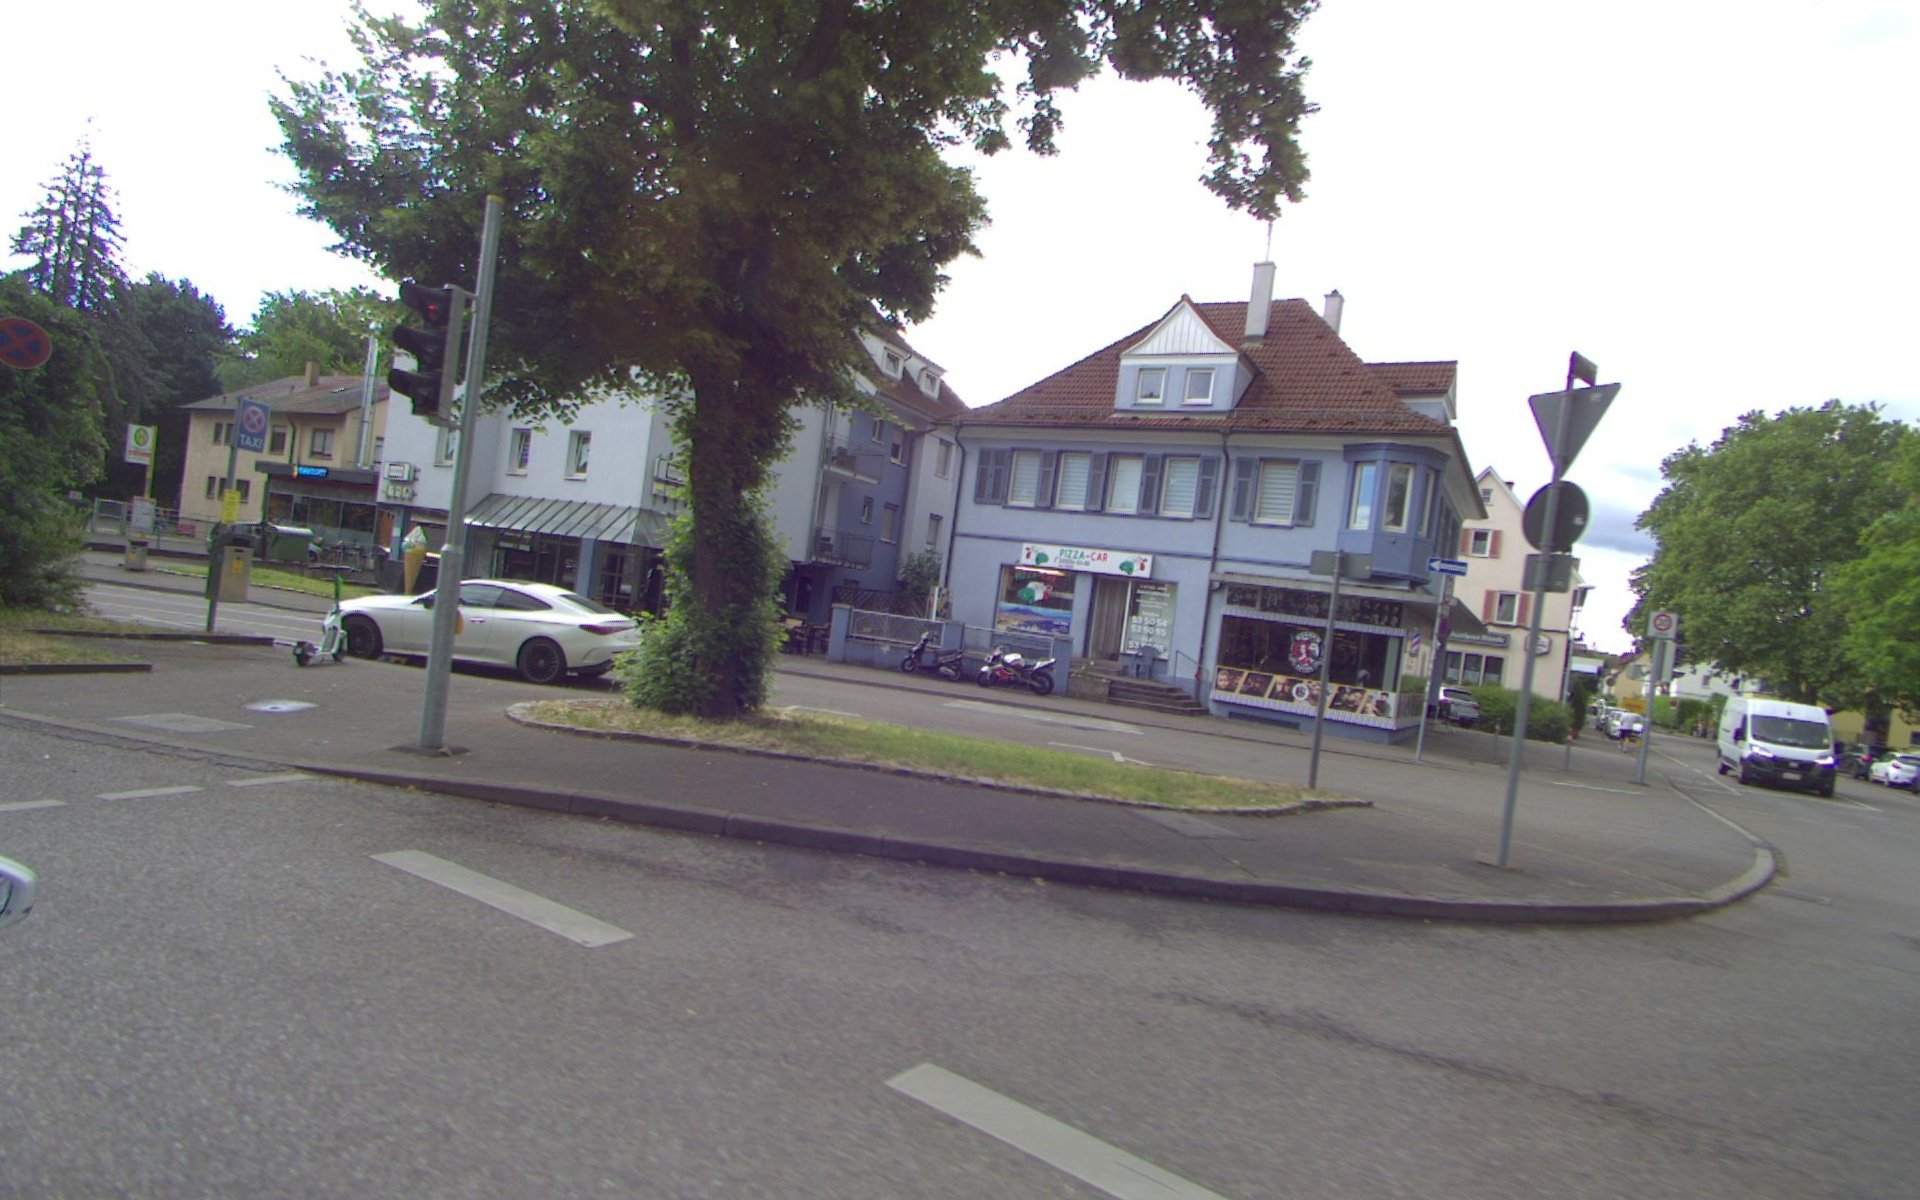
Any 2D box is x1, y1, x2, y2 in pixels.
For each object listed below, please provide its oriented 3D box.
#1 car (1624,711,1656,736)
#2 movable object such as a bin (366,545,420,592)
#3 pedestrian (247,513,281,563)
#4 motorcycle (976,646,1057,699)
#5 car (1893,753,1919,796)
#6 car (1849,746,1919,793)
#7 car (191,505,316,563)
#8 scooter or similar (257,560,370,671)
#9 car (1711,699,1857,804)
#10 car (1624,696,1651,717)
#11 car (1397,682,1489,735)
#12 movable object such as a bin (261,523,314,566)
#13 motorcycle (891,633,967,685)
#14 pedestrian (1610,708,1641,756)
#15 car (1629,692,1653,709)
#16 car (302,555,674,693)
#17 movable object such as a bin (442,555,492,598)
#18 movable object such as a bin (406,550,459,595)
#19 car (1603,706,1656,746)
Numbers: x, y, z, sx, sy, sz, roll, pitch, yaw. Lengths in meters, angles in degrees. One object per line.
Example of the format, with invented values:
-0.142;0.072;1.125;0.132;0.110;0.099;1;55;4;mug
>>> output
67.358;12.222;99.638;1.965;2.038;3.996;8;0;28;car
-20.045;-1.115;35.599;1.078;1.433;1.214;7;0;36;movable object such as a bin
-26.062;-2.316;37.650;0.600;1.751;0.688;7;1;26;pedestrian
1.351;1.726;24.136;1.788;0.997;0.522;8;0;11;motorcycle
36.110;6.568;37.064;1.710;1.407;3.734;7;-1;32;car
39.491;7.194;42.602;1.893;1.473;4.394;7;-1;32;car
-26.773;-2.474;38.197;1.598;1.650;3.417;7;0;33;car
-7.558;0.197;11.822;0.405;1.179;1.362;8;-3;-6;scooter or similar
24.032;4.290;29.614;2.298;2.420;5.948;7;-1;32;car
77.672;12.237;115.344;1.965;2.038;3.996;8;0;28;car
18.215;4.075;38.102;1.543;1.479;3.439;8;-1;-2;car
-24.895;-2.044;37.256;0.978;1.361;1.219;7;0;27;movable object such as a bin
-0.767;1.440;24.890;1.692;1.044;0.490;8;1;11;motorcycle
25.558;5.068;38.662;0.744;1.717;0.645;8;0;29;pedestrian
89.370;13.189;132.107;1.965;1.971;3.996;8;0;28;car
-7.142;0.361;15.575;4.698;1.403;2.000;7;0;2;car
-18.495;-0.890;37.760;1.078;1.412;1.214;7;0;36;movable object such as a bin
-19.244;-0.999;36.692;1.143;1.412;1.214;7;0;36;movable object such as a bin
36.270;6.770;54.571;1.906;1.748;3.776;8;-1;30;car
